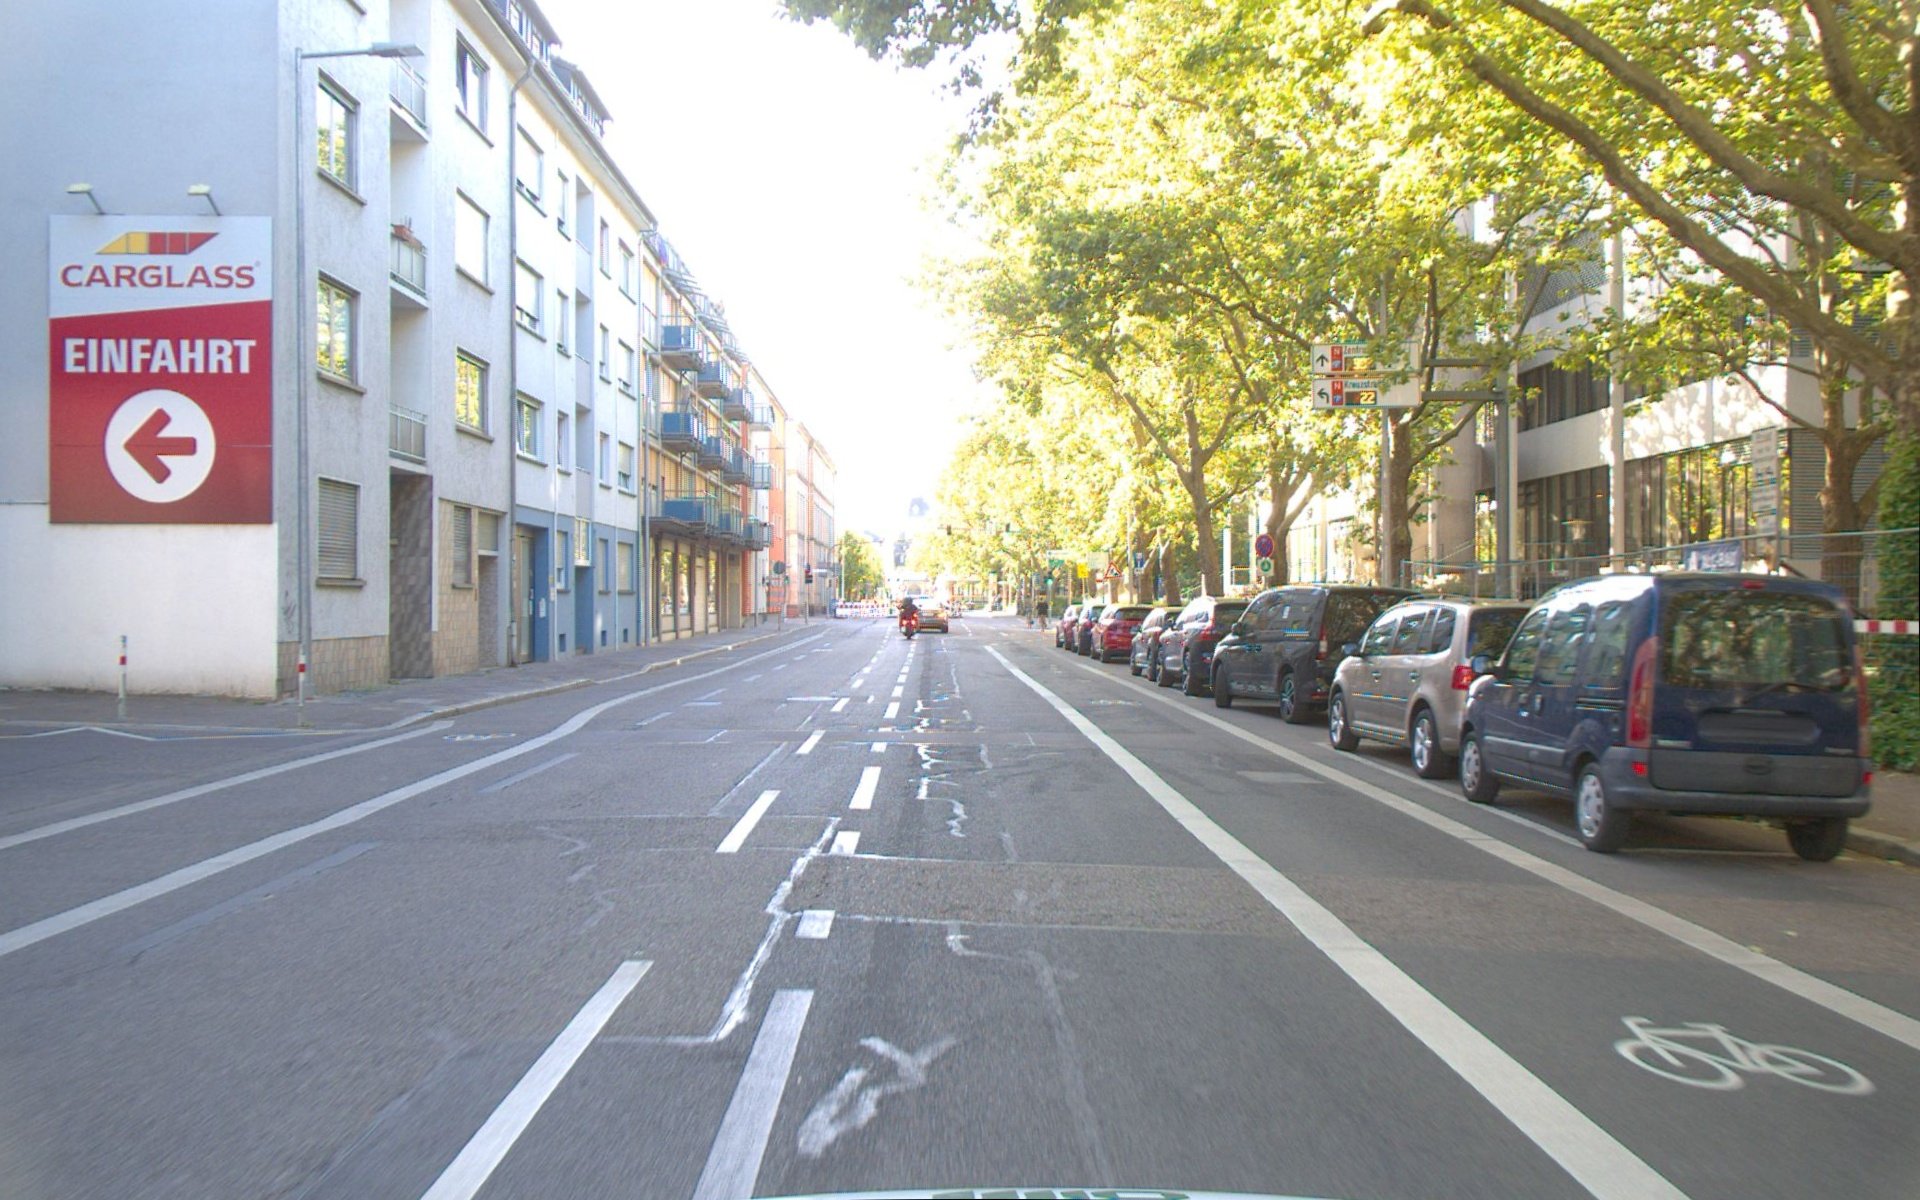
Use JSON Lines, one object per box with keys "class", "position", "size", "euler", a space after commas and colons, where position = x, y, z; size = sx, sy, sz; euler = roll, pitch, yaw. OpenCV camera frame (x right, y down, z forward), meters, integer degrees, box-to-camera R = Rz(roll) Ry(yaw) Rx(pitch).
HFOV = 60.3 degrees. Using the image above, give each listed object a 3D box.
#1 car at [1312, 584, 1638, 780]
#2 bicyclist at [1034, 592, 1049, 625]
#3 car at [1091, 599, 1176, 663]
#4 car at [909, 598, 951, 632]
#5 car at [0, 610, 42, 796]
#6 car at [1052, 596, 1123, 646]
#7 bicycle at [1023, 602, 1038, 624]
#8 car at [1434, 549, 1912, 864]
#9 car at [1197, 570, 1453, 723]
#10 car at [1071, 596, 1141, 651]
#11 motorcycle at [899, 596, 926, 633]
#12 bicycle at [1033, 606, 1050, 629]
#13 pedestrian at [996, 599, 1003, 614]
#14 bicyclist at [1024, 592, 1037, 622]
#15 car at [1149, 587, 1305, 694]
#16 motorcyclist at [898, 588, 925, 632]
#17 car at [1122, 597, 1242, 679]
{"class": "car", "position": [4.959, 0.712, 16.588], "size": [1.659, 1.656, 4.327], "euler": [2, 0, -3]}
{"class": "bicyclist", "position": [3.903, 0.397, 79.525], "size": [0.643, 1.557, 0.851], "euler": [1, -1, -2]}
{"class": "car", "position": [4.468, 0.768, 43.085], "size": [1.658, 1.505, 4.317], "euler": [2, 0, -1]}
{"class": "car", "position": [-1.363, 0.635, 73.048], "size": [1.791, 1.445, 3.813], "euler": [0, 0, -2]}
{"class": "car", "position": [-9.321, 0.721, 11.976], "size": [4.143, 1.404, 2.045], "euler": [2, 0, -1]}
{"class": "car", "position": [4.072, 0.642, 53.462], "size": [1.659, 1.475, 4.433], "euler": [2, 0, -3]}
{"class": "bicycle", "position": [3.754, 0.686, 88.208], "size": [0.643, 1.131, 2.185], "euler": [1, 0, -2]}
{"class": "car", "position": [4.886, 0.641, 12.021], "size": [1.658, 1.844, 4.130], "euler": [2, 0, 0]}
{"class": "car", "position": [4.965, 0.581, 23.272], "size": [1.791, 1.873, 4.889], "euler": [2, 0, -9]}
{"class": "car", "position": [4.245, 0.651, 48.596], "size": [1.658, 1.492, 4.065], "euler": [2, 0, 0]}
{"class": "motorcycle", "position": [-1.788, 0.530, 61.983], "size": [0.992, 1.329, 2.671], "euler": [0, 0, -2]}
{"class": "bicycle", "position": [3.896, 0.851, 79.532], "size": [0.643, 1.089, 1.926], "euler": [1, 0, -2]}
{"class": "pedestrian", "position": [4.020, 0.663, 168.607], "size": [0.580, 1.606, 0.527], "euler": [1, -1, -1]}
{"class": "bicyclist", "position": [3.758, 0.379, 88.194], "size": [0.643, 1.557, 0.906], "euler": [1, -1, -2]}
{"class": "car", "position": [4.539, 0.642, 28.766], "size": [1.740, 1.656, 4.618], "euler": [2, 0, -3]}
{"class": "motorcyclist", "position": [-1.804, 0.376, 61.905], "size": [0.992, 1.630, 1.405], "euler": [0, 0, -2]}
{"class": "car", "position": [4.474, 0.724, 33.803], "size": [1.659, 1.530, 4.017], "euler": [2, 0, -3]}
